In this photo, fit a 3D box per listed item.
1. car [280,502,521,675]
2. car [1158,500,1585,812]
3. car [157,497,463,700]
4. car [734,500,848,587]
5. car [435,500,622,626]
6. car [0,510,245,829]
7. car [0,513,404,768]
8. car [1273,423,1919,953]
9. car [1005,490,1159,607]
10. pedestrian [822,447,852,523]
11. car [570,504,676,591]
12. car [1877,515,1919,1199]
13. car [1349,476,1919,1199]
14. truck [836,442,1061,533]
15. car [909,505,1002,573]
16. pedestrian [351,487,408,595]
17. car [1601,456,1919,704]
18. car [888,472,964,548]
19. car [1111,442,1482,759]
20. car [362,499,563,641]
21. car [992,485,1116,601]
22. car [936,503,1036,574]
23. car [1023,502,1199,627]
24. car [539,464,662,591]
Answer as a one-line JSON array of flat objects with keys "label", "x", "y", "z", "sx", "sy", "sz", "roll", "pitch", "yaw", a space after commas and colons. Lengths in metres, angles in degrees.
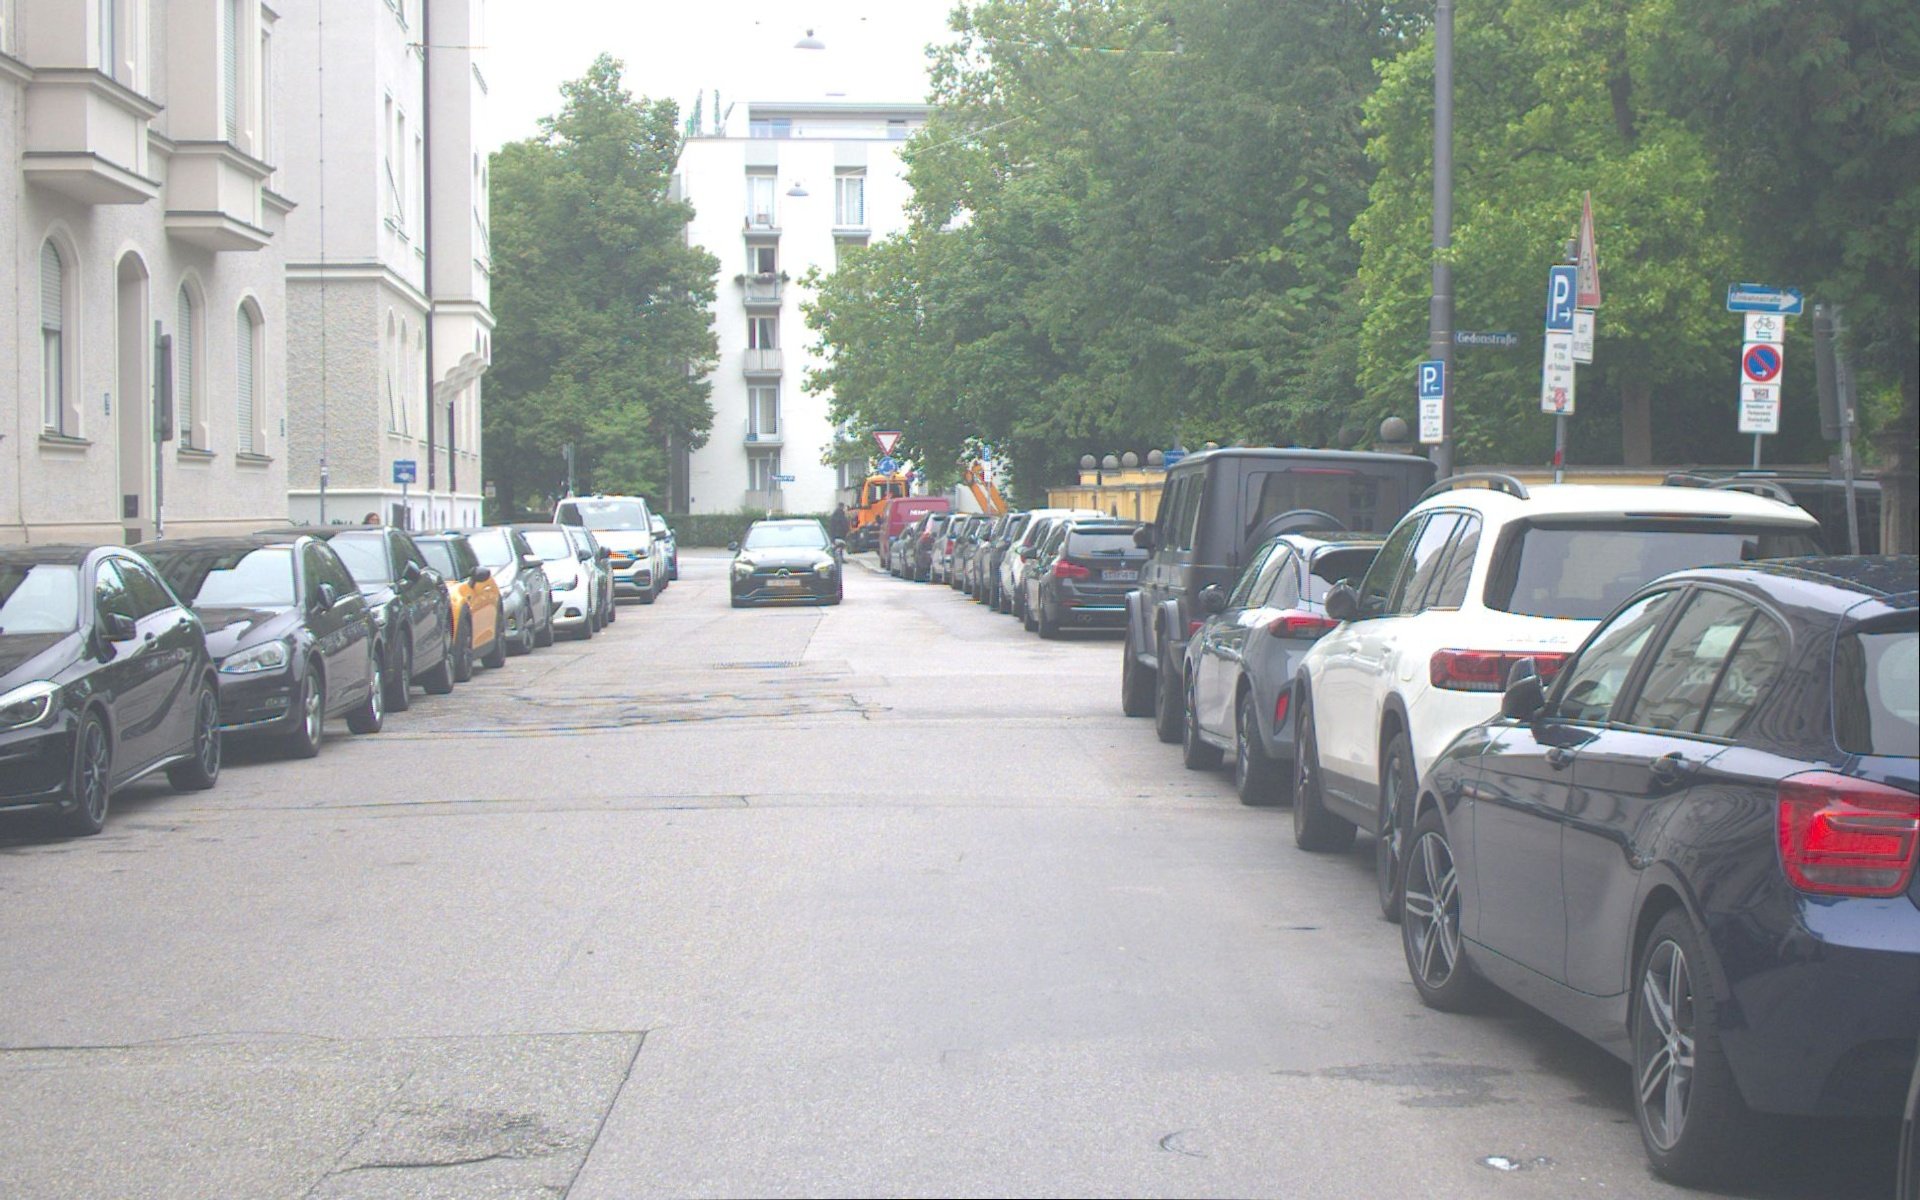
[{"label": "car", "x": -5.425, "y": -0.158, "z": 33.762, "sx": 1.640, "sy": 1.494, "sz": 3.972, "roll": -3, "pitch": 2, "yaw": 0}, {"label": "car", "x": 2.189, "y": 0.251, "z": 19.233, "sx": 1.722, "sy": 1.513, "sz": 3.631, "roll": 2, "pitch": 1, "yaw": -3}, {"label": "car", "x": -5.311, "y": -0.071, "z": 28.563, "sx": 1.753, "sy": 1.494, "sz": 4.019, "roll": -2, "pitch": 2, "yaw": 0}, {"label": "car", "x": -2.915, "y": -0.991, "z": 58.844, "sx": 1.874, "sy": 1.423, "sz": 4.410, "roll": 0, "pitch": 2, "yaw": -3}, {"label": "car", "x": -5.487, "y": -0.519, "z": 44.225, "sx": 1.836, "sy": 1.433, "sz": 4.275, "roll": -3, "pitch": 2, "yaw": 0}, {"label": "car", "x": -5.109, "y": 0.286, "z": 18.155, "sx": 1.833, "sy": 1.429, "sz": 4.554, "roll": -2, "pitch": 2, "yaw": -2}, {"label": "car", "x": -5.025, "y": 0.194, "z": 23.175, "sx": 1.836, "sy": 1.431, "sz": 4.245, "roll": -3, "pitch": 2, "yaw": 0}, {"label": "car", "x": 2.399, "y": 0.264, "z": 14.099, "sx": 1.723, "sy": 1.763, "sz": 4.413, "roll": 2, "pitch": 1, "yaw": -1}, {"label": "car", "x": 1.629, "y": -0.714, "z": 47.148, "sx": 1.652, "sy": 1.513, "sz": 3.796, "roll": 1, "pitch": 1, "yaw": -5}, {"label": "pedestrian", "x": -3.704, "y": -3.471, "z": 103.543, "sx": 0.842, "sy": 2.277, "sz": 0.843, "roll": 0, "pitch": 1, "yaw": 2}, {"label": "car", "x": -7.282, "y": -1.174, "z": 74.638, "sx": 2.015, "sy": 1.720, "sz": 4.275, "roll": -3, "pitch": 2, "yaw": -3}, {"label": "car", "x": 2.589, "y": 0.665, "z": 4.113, "sx": 1.683, "sy": 1.499, "sz": 4.019, "roll": 1, "pitch": 1, "yaw": -3}, {"label": "car", "x": 2.331, "y": 0.507, "z": 9.049, "sx": 1.750, "sy": 1.605, "sz": 4.425, "roll": 1, "pitch": 2, "yaw": -4}, {"label": "truck", "x": -0.427, "y": -4.064, "z": 124.520, "sx": 7.668, "sy": 3.230, "sz": 2.900, "roll": -1, "pitch": 2, "yaw": -14}, {"label": "car", "x": -0.131, "y": -1.428, "z": 80.558, "sx": 1.838, "sy": 1.513, "sz": 3.948, "roll": 1, "pitch": 1, "yaw": -5}, {"label": "pedestrian", "x": -9.029, "y": -0.924, "z": 53.511, "sx": 0.792, "sy": 1.673, "sz": 0.700, "roll": 0, "pitch": 2, "yaw": -4}, {"label": "car", "x": 7.892, "y": -0.217, "z": 28.962, "sx": 4.528, "sy": 1.943, "sz": 1.904, "roll": -1, "pitch": 3, "yaw": -7}, {"label": "car", "x": -0.896, "y": -2.436, "z": 92.382, "sx": 1.836, "sy": 1.920, "sz": 4.005, "roll": 2, "pitch": 2, "yaw": 1}, {"label": "car", "x": 2.214, "y": -0.096, "z": 23.923, "sx": 1.950, "sy": 1.947, "sz": 4.666, "roll": 1, "pitch": 2, "yaw": -2}, {"label": "car", "x": -5.637, "y": -0.369, "z": 39.331, "sx": 1.726, "sy": 1.494, "sz": 3.930, "roll": -2, "pitch": 1, "yaw": 0}, {"label": "car", "x": 1.387, "y": -0.863, "z": 51.873, "sx": 1.513, "sy": 1.655, "sz": 3.675, "roll": 1, "pitch": 1, "yaw": -3}, {"label": "car", "x": 0.550, "y": -1.370, "z": 76.401, "sx": 1.838, "sy": 1.513, "sz": 3.948, "roll": 1, "pitch": 1, "yaw": -5}, {"label": "car", "x": 1.784, "y": -0.452, "z": 41.854, "sx": 1.838, "sy": 1.408, "sz": 4.343, "roll": 1, "pitch": 1, "yaw": -1}, {"label": "car", "x": -6.511, "y": -1.347, "z": 62.705, "sx": 1.886, "sy": 2.120, "sz": 4.707, "roll": -3, "pitch": 2, "yaw": -3}]
